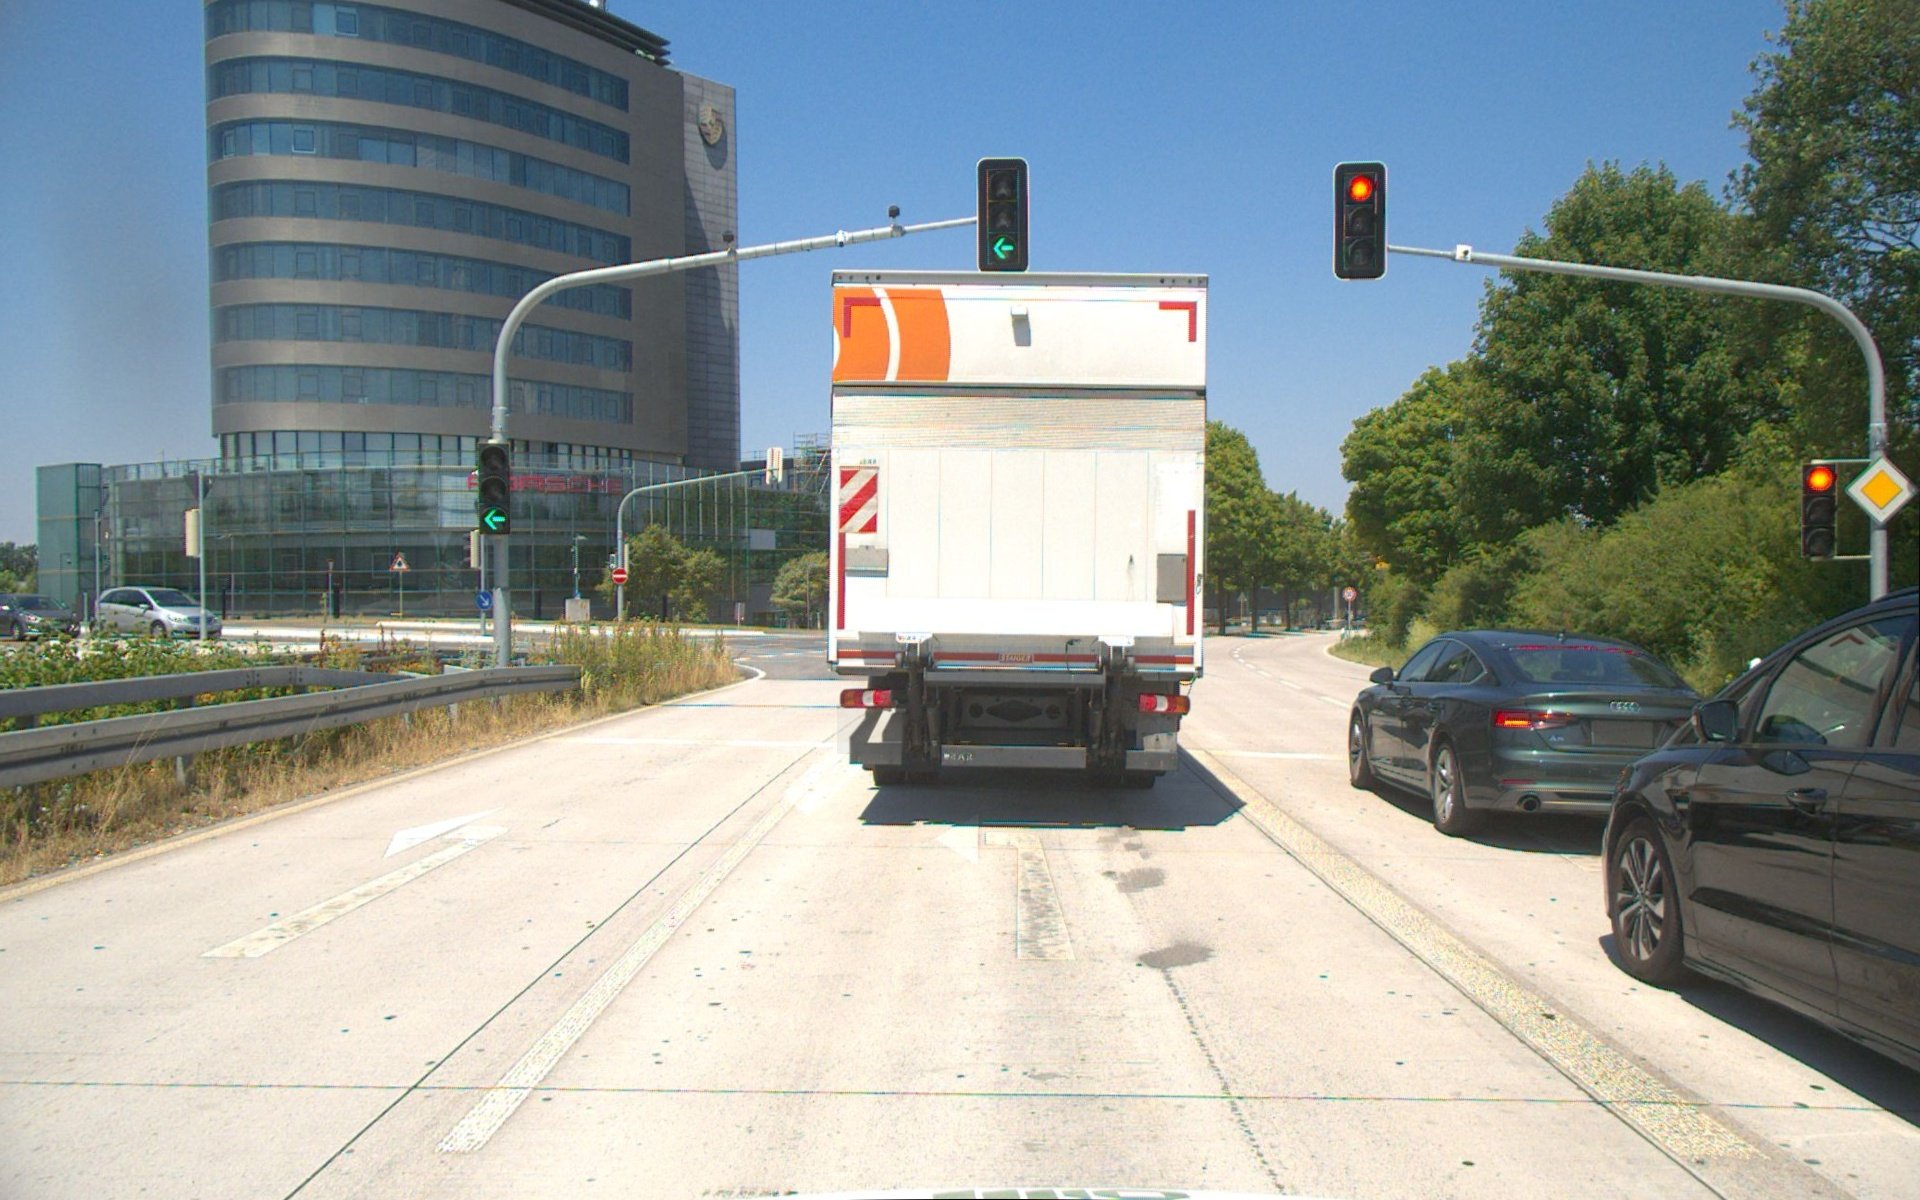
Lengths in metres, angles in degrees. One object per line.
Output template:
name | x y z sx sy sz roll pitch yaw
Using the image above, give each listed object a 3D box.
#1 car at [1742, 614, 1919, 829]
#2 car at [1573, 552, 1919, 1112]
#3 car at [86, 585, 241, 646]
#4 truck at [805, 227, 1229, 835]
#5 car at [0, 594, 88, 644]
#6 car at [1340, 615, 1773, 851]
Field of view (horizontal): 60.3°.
car | 7.706 0.891 12.525 1.732 1.536 3.649 1 -1 -2
car | 3.740 0.709 5.392 1.747 1.668 4.647 1 -1 0
car | -22.870 0.468 47.465 4.230 1.623 1.775 -2 -2 26
truck | 0.490 -0.411 15.439 2.712 3.927 9.371 1 -1 1
car | -29.235 0.626 51.781 4.241 1.482 1.691 -2 -2 35
car | 4.248 0.853 12.611 1.731 1.435 4.610 1 -1 1
